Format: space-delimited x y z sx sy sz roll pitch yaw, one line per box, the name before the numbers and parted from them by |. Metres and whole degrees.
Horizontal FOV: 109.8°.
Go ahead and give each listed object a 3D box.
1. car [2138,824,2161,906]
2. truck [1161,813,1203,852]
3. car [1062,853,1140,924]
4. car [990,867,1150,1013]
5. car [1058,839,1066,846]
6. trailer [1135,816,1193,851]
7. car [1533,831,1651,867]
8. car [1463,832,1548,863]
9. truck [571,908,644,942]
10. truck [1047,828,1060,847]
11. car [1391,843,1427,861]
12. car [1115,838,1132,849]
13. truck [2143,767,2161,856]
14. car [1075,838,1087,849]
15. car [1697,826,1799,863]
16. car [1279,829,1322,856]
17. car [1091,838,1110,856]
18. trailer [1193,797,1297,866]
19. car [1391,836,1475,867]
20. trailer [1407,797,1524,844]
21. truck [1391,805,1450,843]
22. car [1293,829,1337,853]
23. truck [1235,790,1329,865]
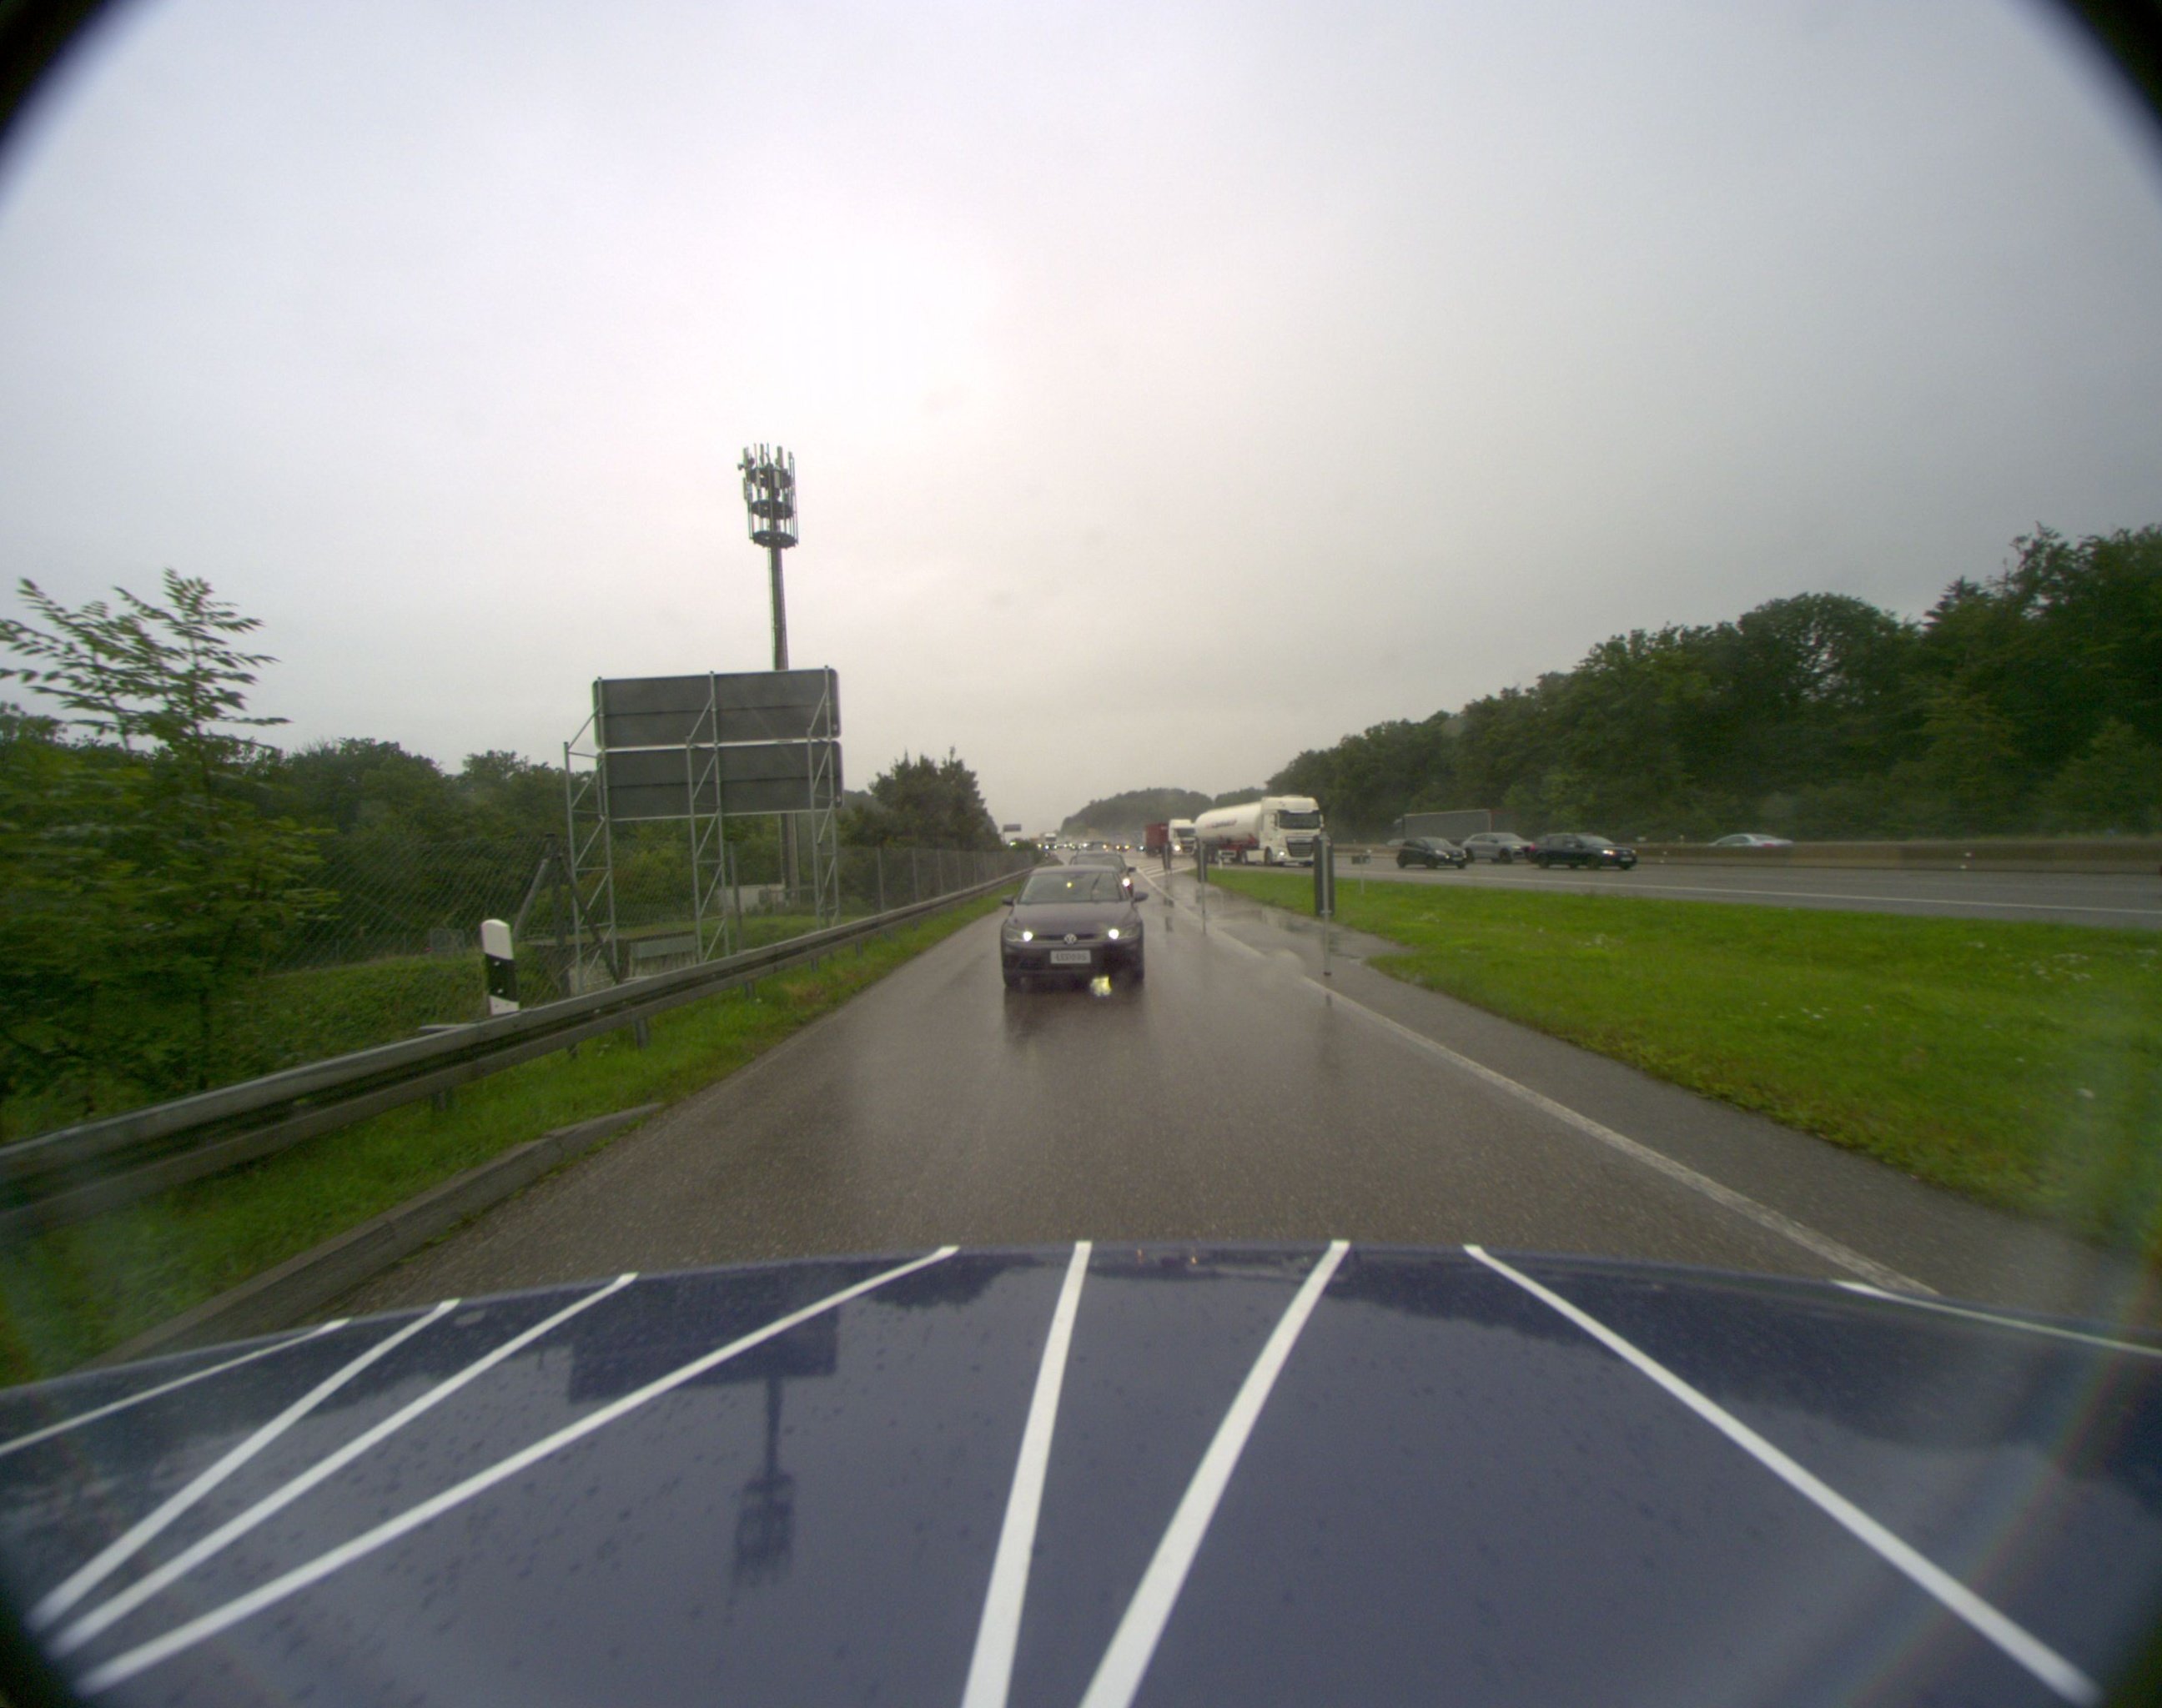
car | 20.823 0.197 11.965 1.886 1.472 4.497 -2 1 -12
truck | 10.448 -2.196 78.966 2.698 3.636 5.320 -5 2 -8
car | 0.555 0.852 20.809 1.810 1.532 3.999 -6 1 2
car | -0.115 0.973 10.437 1.670 1.394 4.261 -3 1 0
car | -4.954 -2.950 198.006 1.775 1.668 3.997 -4 2 -6
trailer | 9.294 -2.237 87.273 2.692 3.485 15.112 -5 2 -8
car | 21.353 -0.203 31.964 1.824 1.406 4.120 -1 0 -9
car | 23.591 -0.377 42.466 1.824 1.659 4.400 -1 1 -9
truck | -51.249 7.615 82.520 2.834 2.646 8.262 -8 0 -4
truck | -6.368 -3.740 173.683 2.597 4.121 5.229 -5 1 -2
car | 30.582 -0.177 70.940 1.414 1.324 3.279 -7 -2 -10
car | 7.262 -1.791 130.130 1.789 1.550 4.095 -2 -1 -12
truck | 44.482 -1.846 28.352 2.723 3.513 4.759 -6 0 -10
car | -0.092 -2.304 160.533 1.918 2.003 3.996 -8 3 -5
car | 31.773 -0.413 36.327 1.414 1.324 3.398 -7 -2 -10
car | 17.159 -0.904 59.562 1.862 2.002 3.997 -2 1 -5
car | 2.580 -0.981 100.967 1.918 2.003 3.996 -8 3 -5
trailer | 10.409 -1.353 49.751 2.771 4.003 11.031 -1 1 -9
car | 16.560 -0.121 35.948 1.823 1.364 3.997 -1 1 -6
trailer | 37.200 -3.088 74.502 3.037 3.790 13.399 -4 1 -8
truck | 36.267 -3.163 81.317 3.051 3.725 5.640 -4 1 -8
car | 19.970 -1.088 64.906 2.000 2.002 3.996 -2 1 -9
truck | 11.442 -1.442 43.904 2.759 3.985 6.502 -1 1 -9
